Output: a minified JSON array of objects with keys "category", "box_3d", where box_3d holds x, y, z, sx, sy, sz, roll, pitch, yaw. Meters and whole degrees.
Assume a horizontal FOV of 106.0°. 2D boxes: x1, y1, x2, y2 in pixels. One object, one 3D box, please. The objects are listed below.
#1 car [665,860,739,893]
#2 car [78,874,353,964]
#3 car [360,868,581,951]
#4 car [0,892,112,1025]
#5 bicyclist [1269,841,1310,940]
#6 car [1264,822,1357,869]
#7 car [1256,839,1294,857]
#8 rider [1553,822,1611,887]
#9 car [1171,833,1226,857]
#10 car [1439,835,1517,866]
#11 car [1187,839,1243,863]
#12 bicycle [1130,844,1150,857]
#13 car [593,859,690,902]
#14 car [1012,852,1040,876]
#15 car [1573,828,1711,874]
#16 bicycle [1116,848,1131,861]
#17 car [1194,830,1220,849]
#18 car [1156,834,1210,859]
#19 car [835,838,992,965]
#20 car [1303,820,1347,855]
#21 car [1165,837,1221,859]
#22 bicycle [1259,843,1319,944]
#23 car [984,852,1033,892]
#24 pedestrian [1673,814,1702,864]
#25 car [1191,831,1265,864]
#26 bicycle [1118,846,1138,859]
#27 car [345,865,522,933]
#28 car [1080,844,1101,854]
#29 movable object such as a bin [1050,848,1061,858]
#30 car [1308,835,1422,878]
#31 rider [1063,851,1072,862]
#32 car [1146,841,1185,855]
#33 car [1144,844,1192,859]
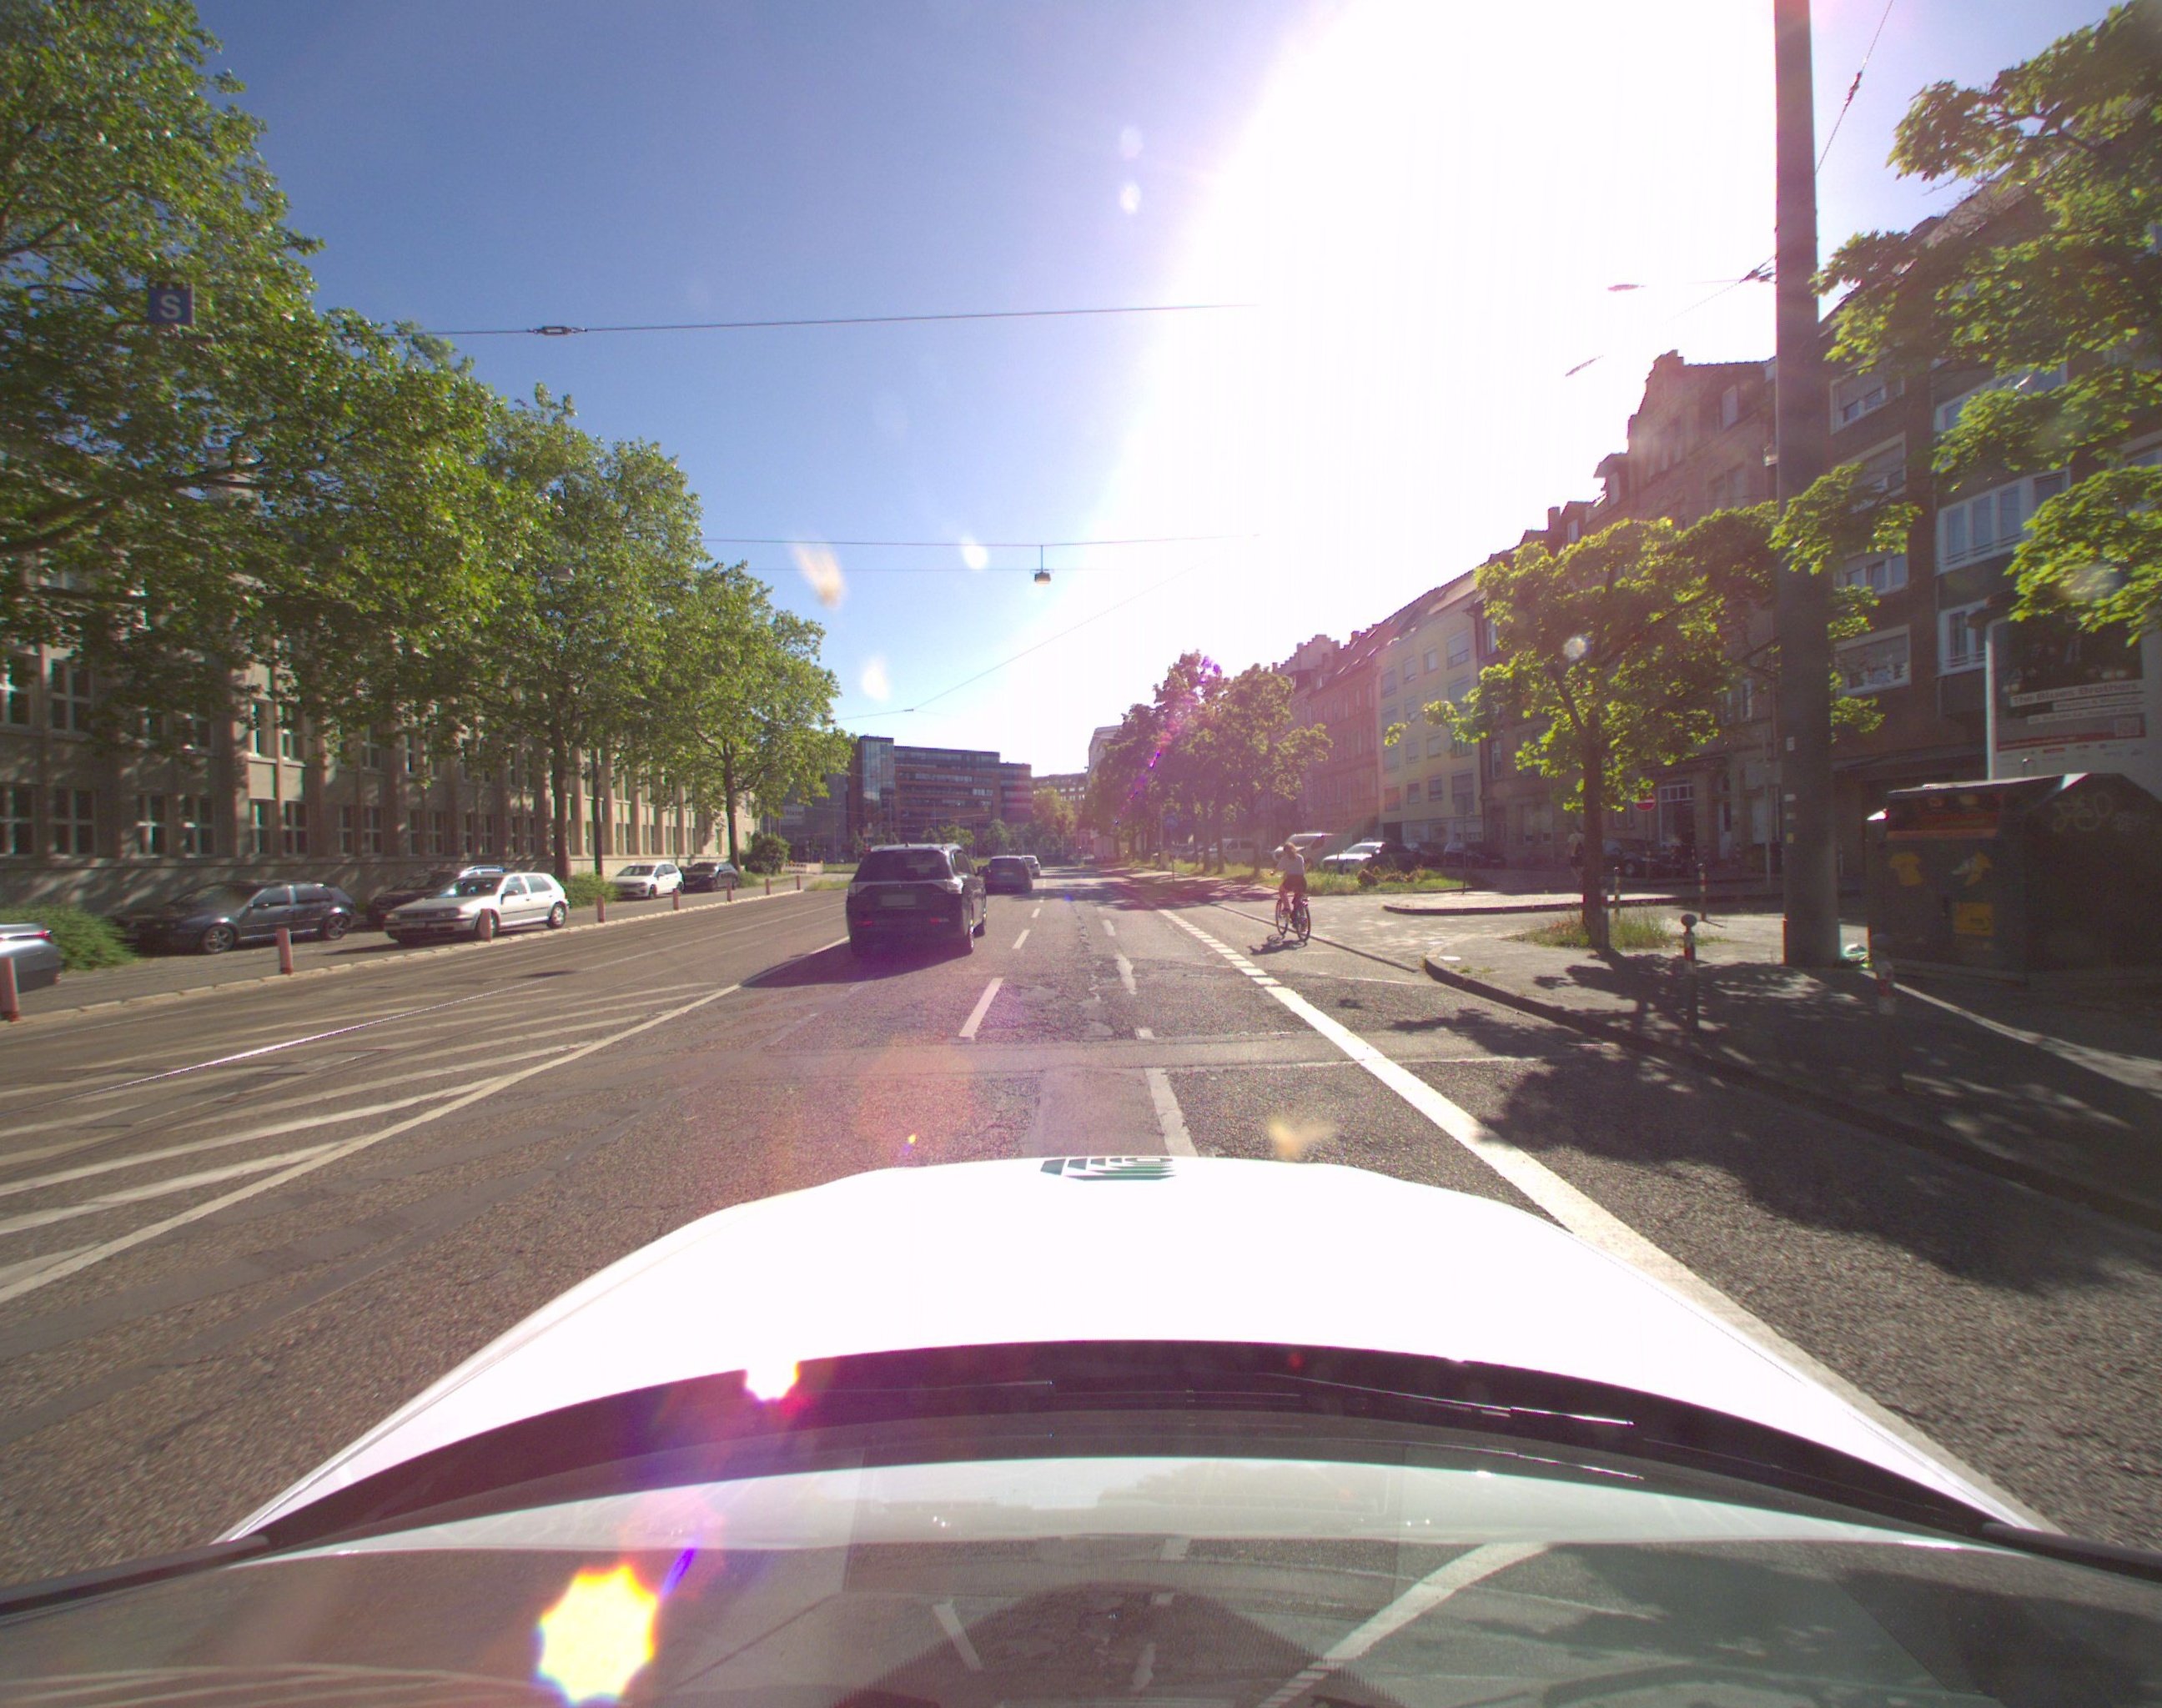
[{"category":"car","box_3d":[-19.308,1.095,41.674,1.825,1.492,4.179,-2,0,-1]},{"category":"car","box_3d":[-18.485,1.293,17.733,1.669,1.547,4.182,-2,0,-5]},{"category":"car","box_3d":[-13.468,1.150,18.355,1.825,1.453,4.168,-3,1,-1]},{"category":"car","box_3d":[-13.311,1.285,7.871,1.823,1.453,4.962,-3,1,1]},{"category":"bicyclist","box_3d":[3.589,0.608,14.087,0.436,1.638,0.778,-2,1,-2]},{"category":"car","box_3d":[11.779,-0.444,41.636,4.904,2.075,1.998,-5,1,-38]},{"category":"car","box_3d":[18.300,-0.591,77.107,1.991,1.528,4.503,-4,1,-6]},{"category":"rider","box_3d":[14.698,0.005,23.911,0.964,1.820,1.033,-2,1,-24]},{"category":"car","box_3d":[10.382,-0.792,71.709,4.530,1.727,1.979,-4,1,-32]},{"category":"car","box_3d":[20.335,-0.213,41.902,1.724,1.420,4.290,-3,1,-2]},{"category":"car","box_3d":[10.281,-0.227,62.356,4.049,1.478,1.793,-4,1,-37]},{"category":"bicycle","box_3d":[6.378,-0.376,87.728,1.953,1.192,0.840,-4,0,-4]},{"category":"car","box_3d":[-18.985,1.102,35.425,1.825,1.587,4.392,-3,1,-2]},{"category":"car","box_3d":[-3.445,0.665,50.483,1.629,1.423,3.775,0,-1,-5]},{"category":"car","box_3d":[20.490,-0.136,30.010,1.987,1.474,4.490,-2,1,1]},{"category":"bicycle","box_3d":[4.558,0.003,87.021,0.760,1.290,1.608,-2,1,37]},{"category":"car","box_3d":[16.605,-1.926,107.878,2.343,2.357,5.184,-4,1,-2]},{"category":"car","box_3d":[9.797,-0.721,77.892,4.904,2.012,2.077,-4,1,-37]},{"category":"car","box_3d":[-2.539,0.650,13.441,1.832,1.682,4.637,-1,0,-3]},{"category":"car","box_3d":[19.357,-1.340,64.792,1.988,2.585,4.511,-4,1,-1]},{"category":"car","box_3d":[10.380,-0.554,75.325,4.899,1.647,2.079,-4,1,-32]},{"category":"bicycle","box_3d":[3.599,0.627,14.209,0.436,1.638,1.937,-2,1,-2]},{"category":"car","box_3d":[-2.768,0.699,31.718,1.730,1.423,4.461,0,-1,-3]},{"category":"pedestrian","box_3d":[22.088,-0.551,29.661,0.568,1.758,0.615,-2,0,0]},{"category":"car","box_3d":[10.772,-0.463,59.408,5.207,2.012,2.079,-4,1,-32]},{"category":"bicycle","box_3d":[5.146,-0.161,89.271,2.092,1.365,0.785,-2,0,-9]},{"category":"car","box_3d":[-18.666,1.219,23.784,1.827,1.639,4.388,-2,0,-5]},{"category":"car","box_3d":[1.903,-1.092,169.054,3.959,2.013,2.007,-2,0,12]},{"category":"movable object such as a bin","box_3d":[-3.509,-0.143,112.453,1.098,1.398,1.327,-2,1,17]},{"category":"car","box_3d":[11.938,0.092,34.119,4.902,1.434,1.998,-4,1,-36]},{"category":"rider","box_3d":[-1.522,0.304,93.233,0.498,1.176,1.683,-2,1,15]},{"category":"car","box_3d":[10.075,-0.704,97.129,4.489,1.565,1.917,-2,1,-34]},{"category":"car","box_3d":[8.974,-0.230,83.912,4.774,1.380,2.023,-2,1,-37]}]
